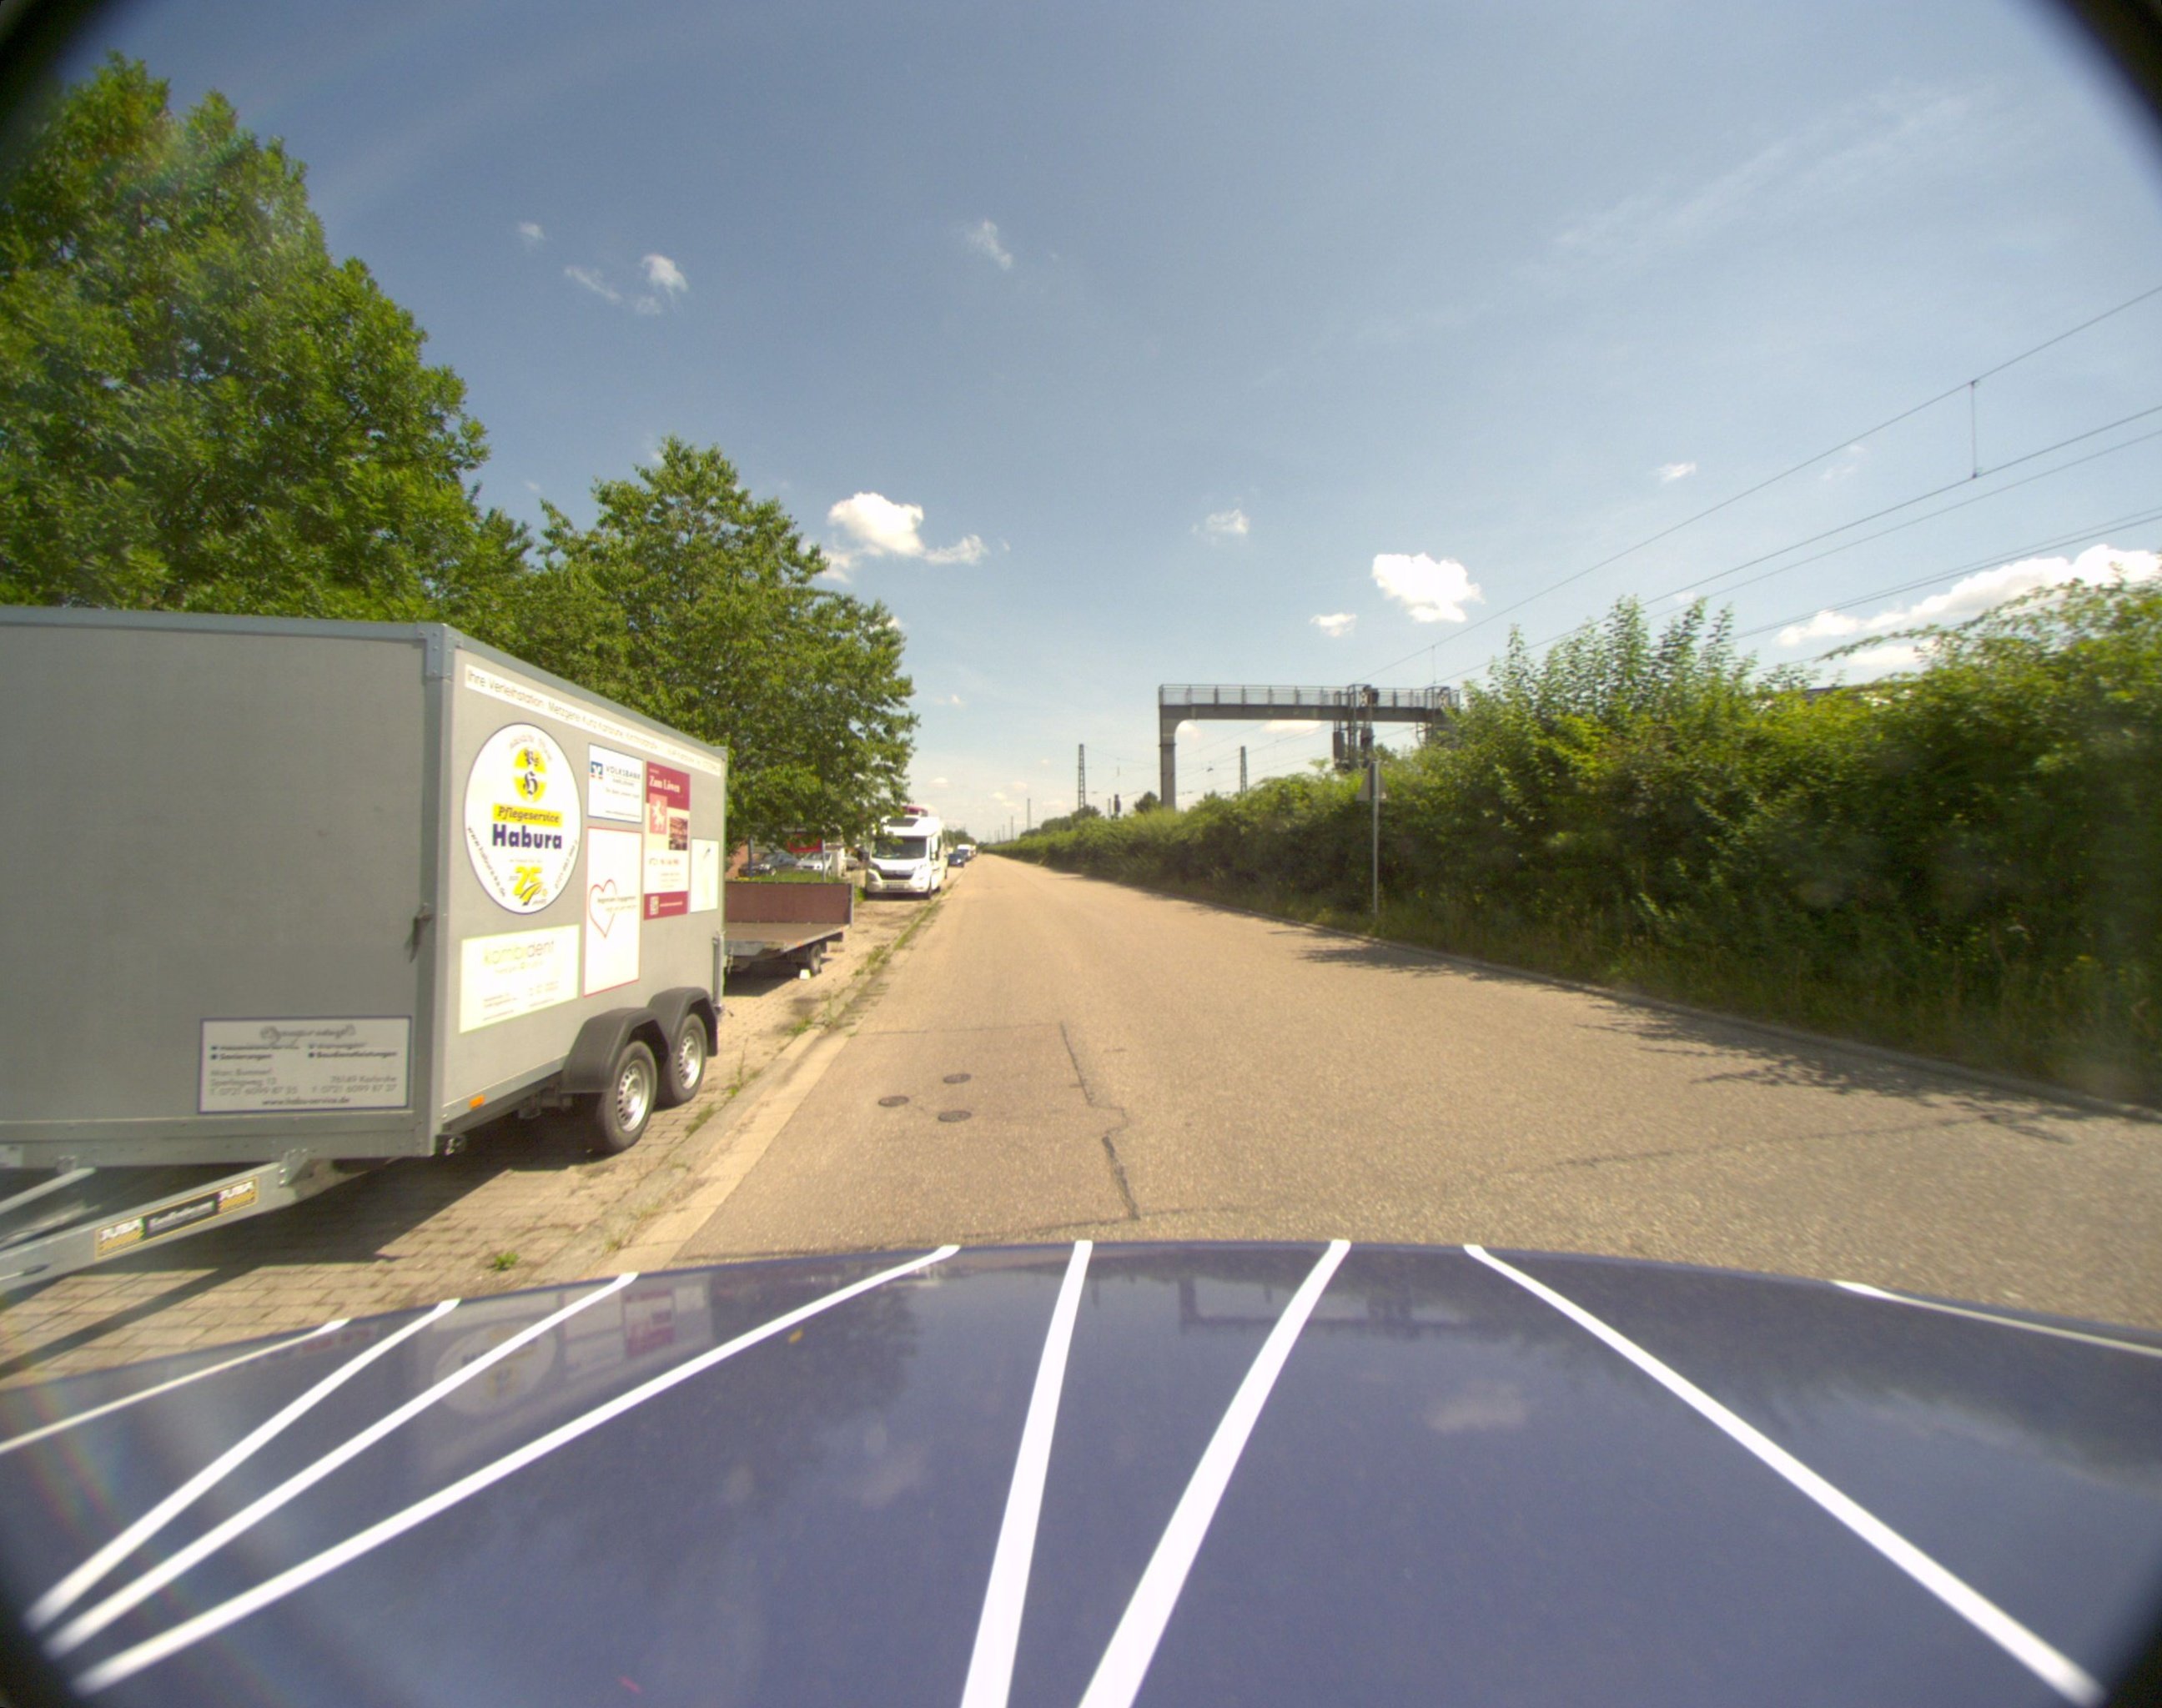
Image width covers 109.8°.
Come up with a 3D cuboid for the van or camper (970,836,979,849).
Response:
[{"bbox_3d":[-30.751,-3.275,219.918,2.335,3.497,4.766,-3,1,-7],"label":"van or camper"}]

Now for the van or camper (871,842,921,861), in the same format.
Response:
[{"bbox_3d":[-23.955,-0.296,98.450,5.836,2.423,2.134,0,1,3],"label":"van or camper"}]

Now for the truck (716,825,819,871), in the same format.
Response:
[{"bbox_3d":[-23.551,-0.445,57.325,6.477,3.368,3.106,0,1,1],"label":"truck"}]

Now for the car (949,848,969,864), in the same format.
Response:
[{"bbox_3d":[-11.802,0.191,73.429,1.767,1.464,4.714,0,0,-7],"label":"car"}]

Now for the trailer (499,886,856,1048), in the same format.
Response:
[{"bbox_3d":[-4.141,1.082,8.821,2.010,1.116,4.486,2,1,-4],"label":"trailer"}]

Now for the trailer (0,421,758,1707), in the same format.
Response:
[{"bbox_3d":[-3.253,0.405,3.523,1.925,2.494,4.737,1,0,-7],"label":"trailer"}]

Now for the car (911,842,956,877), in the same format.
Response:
[{"bbox_3d":[-8.073,0.329,42.013,1.853,1.804,5.423,1,-1,-5],"label":"car"}]

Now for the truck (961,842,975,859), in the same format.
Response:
[{"bbox_3d":[-17.958,-0.561,120.830,2.000,2.550,5.285,0,1,-6],"label":"truck"}]

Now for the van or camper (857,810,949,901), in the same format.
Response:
[{"bbox_3d":[-6.179,0.026,27.385,2.447,2.810,7.617,0,0,-7],"label":"van or camper"}]
